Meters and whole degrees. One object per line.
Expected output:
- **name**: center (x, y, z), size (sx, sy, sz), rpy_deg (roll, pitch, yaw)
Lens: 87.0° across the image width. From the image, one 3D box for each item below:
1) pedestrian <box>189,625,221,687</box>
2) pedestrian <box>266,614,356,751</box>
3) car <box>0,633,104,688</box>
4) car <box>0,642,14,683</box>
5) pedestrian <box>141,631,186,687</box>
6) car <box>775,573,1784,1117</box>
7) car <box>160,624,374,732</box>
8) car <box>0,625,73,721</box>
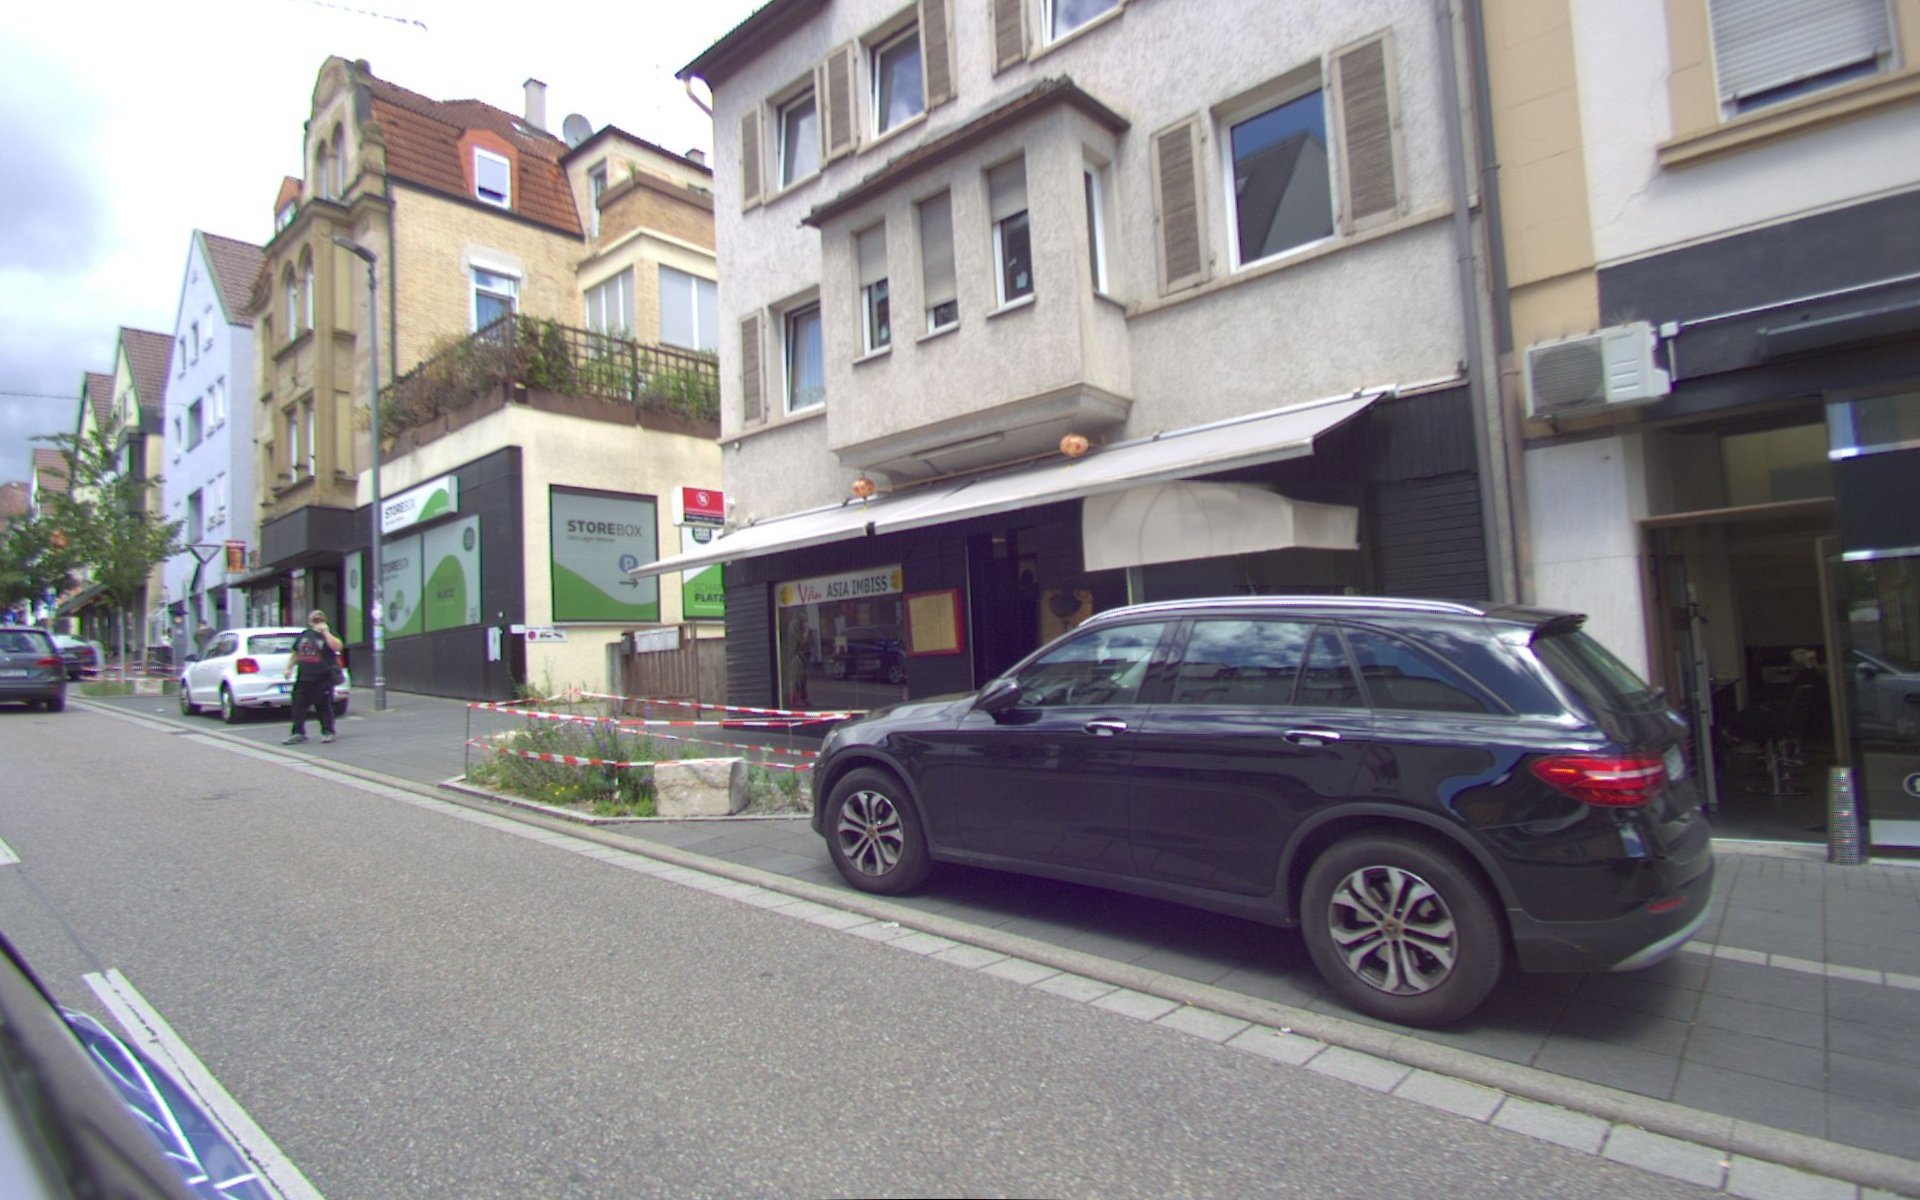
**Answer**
- **pedestrian**: center (-21.461, 1.581, 28.765), size (0.710, 1.726, 0.581), rpy_deg (-3, -1, 41)
- **pedestrian**: center (-8.330, 1.034, 12.988), size (0.862, 1.685, 0.730), rpy_deg (-3, -3, 38)
- **car**: center (-28.498, 1.890, 31.592), size (4.838, 1.504, 1.907), rpy_deg (-3, -1, 40)
- **car**: center (-41.785, 2.721, 42.894), size (4.604, 1.706, 1.986), rpy_deg (-4, -2, 41)
- **pedestrian**: center (-22.287, 1.641, 28.323), size (0.809, 1.474, 0.817), rpy_deg (-3, -1, 40)
- **car**: center (1.284, 0.789, 5.286), size (4.636, 1.633, 1.907), rpy_deg (-2, -1, 40)
- **car**: center (-11.806, 1.265, 17.130), size (4.258, 1.523, 1.907), rpy_deg (-3, -1, 40)
- **car**: center (-17.886, 1.293, 18.567), size (4.133, 1.630, 1.800), rpy_deg (-2, -4, 41)
